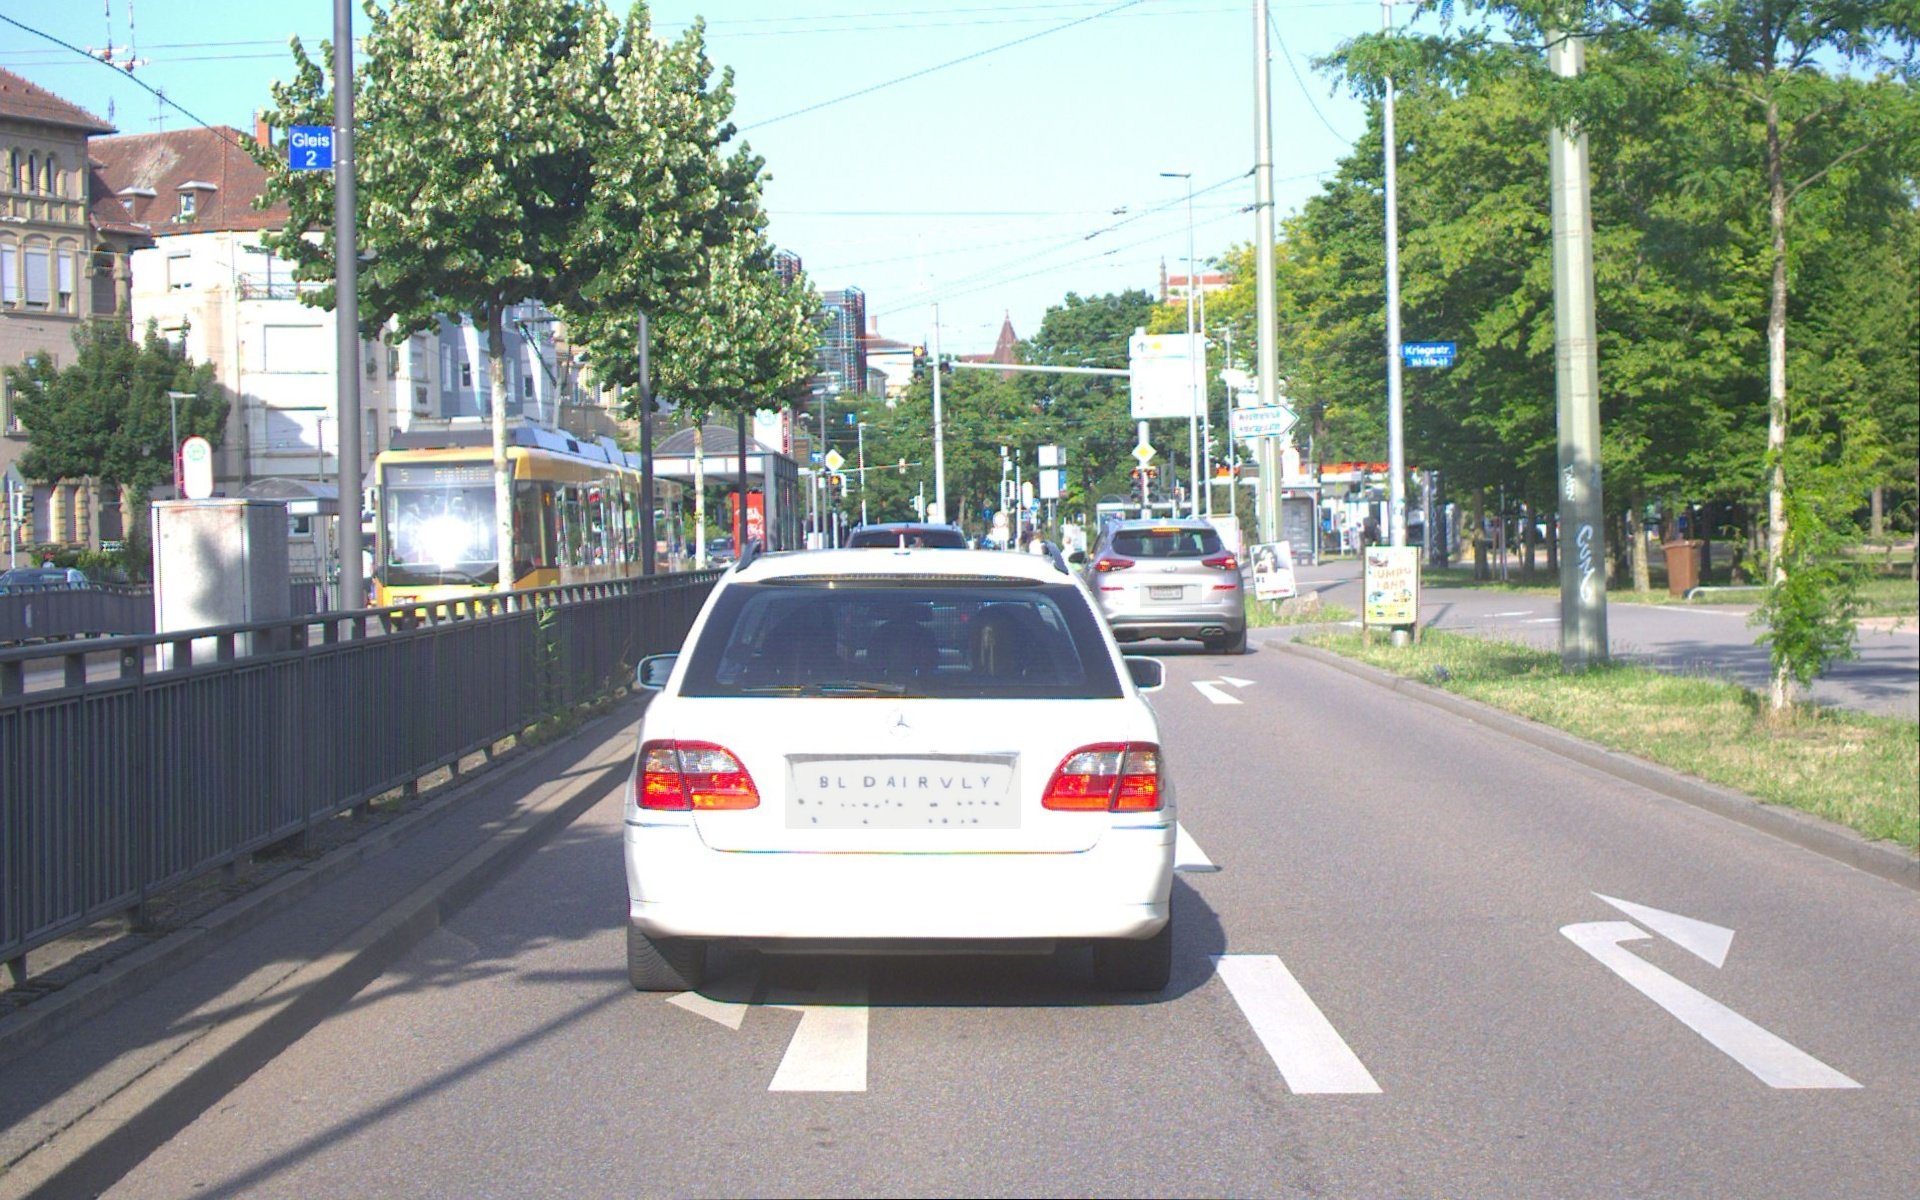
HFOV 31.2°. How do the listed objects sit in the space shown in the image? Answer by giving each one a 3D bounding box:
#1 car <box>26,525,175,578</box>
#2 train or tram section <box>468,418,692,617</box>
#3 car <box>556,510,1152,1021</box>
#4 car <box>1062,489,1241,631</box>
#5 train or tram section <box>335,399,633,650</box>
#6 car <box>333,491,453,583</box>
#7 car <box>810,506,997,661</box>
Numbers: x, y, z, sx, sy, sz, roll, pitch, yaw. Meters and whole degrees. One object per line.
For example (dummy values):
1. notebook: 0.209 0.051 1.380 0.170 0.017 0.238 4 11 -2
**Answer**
1. car: -27.540 -1.566 110.257 2.206 1.622 4.711 0 2 23
2. train or tram section: -7.217 -1.643 67.222 2.849 3.467 13.201 -1 2 0
3. car: -0.207 0.512 12.185 1.758 1.498 3.999 0 -1 3
4. car: 2.332 -0.513 41.384 2.033 1.600 4.000 -1 2 4
5. train or tram section: -7.222 -1.251 54.256 2.849 3.467 13.201 0 2 0
6. car: -17.757 -2.015 108.067 2.596 2.725 7.469 -1 2 -1
7. car: -0.603 -0.233 39.901 1.787 1.684 4.000 -1 2 4
